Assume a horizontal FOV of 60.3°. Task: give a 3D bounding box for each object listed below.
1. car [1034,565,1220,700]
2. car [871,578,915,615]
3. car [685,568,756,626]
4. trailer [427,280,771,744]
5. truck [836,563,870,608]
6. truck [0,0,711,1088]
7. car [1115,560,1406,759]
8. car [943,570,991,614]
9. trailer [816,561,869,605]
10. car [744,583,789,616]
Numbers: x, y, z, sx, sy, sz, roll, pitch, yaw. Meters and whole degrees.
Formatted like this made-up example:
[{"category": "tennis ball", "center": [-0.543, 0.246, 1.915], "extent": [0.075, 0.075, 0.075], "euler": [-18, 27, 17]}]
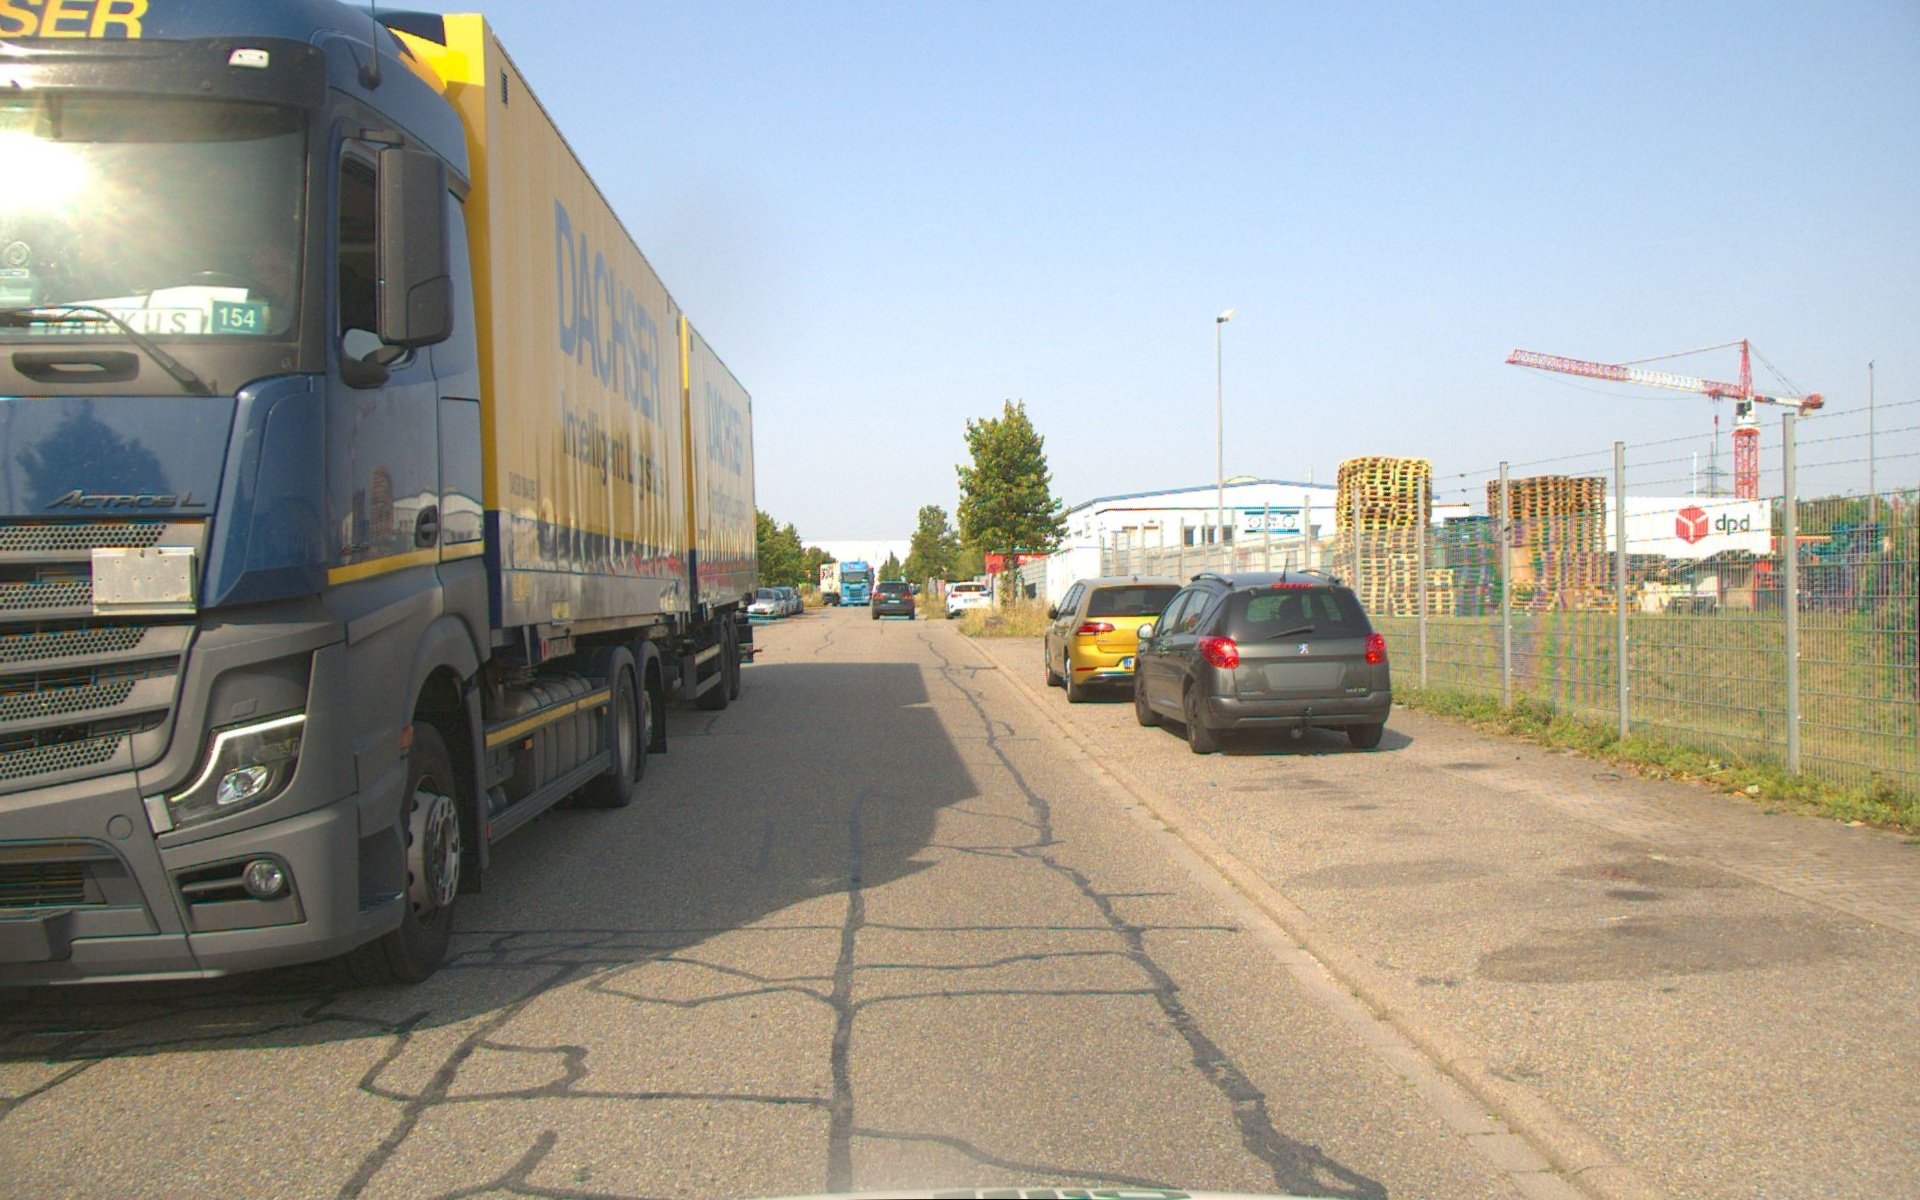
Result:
[{"category": "car", "center": [2.027, 0.352, 21.169], "extent": [1.681, 1.480, 4.184], "euler": [-2, 1, -3]}, {"category": "car", "center": [-2.989, -0.148, 74.300], "extent": [1.842, 1.614, 4.112], "euler": [-1, 0, -1]}, {"category": "car", "center": [-7.772, -0.120, 53.878], "extent": [1.796, 1.793, 4.048], "euler": [1, 1, -2]}, {"category": "trailer", "center": [-3.826, -0.873, 19.602], "extent": [2.448, 4.217, 8.492], "euler": [-2, 1, -3]}, {"category": "truck", "center": [-9.304, -1.231, 143.810], "extent": [2.822, 3.826, 6.079], "euler": [0, 0, -4]}, {"category": "truck", "center": [-3.371, -0.692, 10.134], "extent": [2.448, 4.217, 10.373], "euler": [-2, 1, -3]}, {"category": "car", "center": [2.643, 0.460, 15.473], "extent": [1.681, 1.541, 4.000], "euler": [-2, 1, -4]}, {"category": "car", "center": [0.265, -0.326, 66.767], "extent": [1.681, 1.709, 3.947], "euler": [0, 0, -3]}, {"category": "trailer", "center": [-10.869, -1.545, 152.176], "extent": [2.830, 3.826, 12.034], "euler": [0, 1, -14]}, {"category": "car", "center": [-9.189, -0.056, 78.637], "extent": [1.769, 1.522, 3.935], "euler": [0, 0, -2]}]
